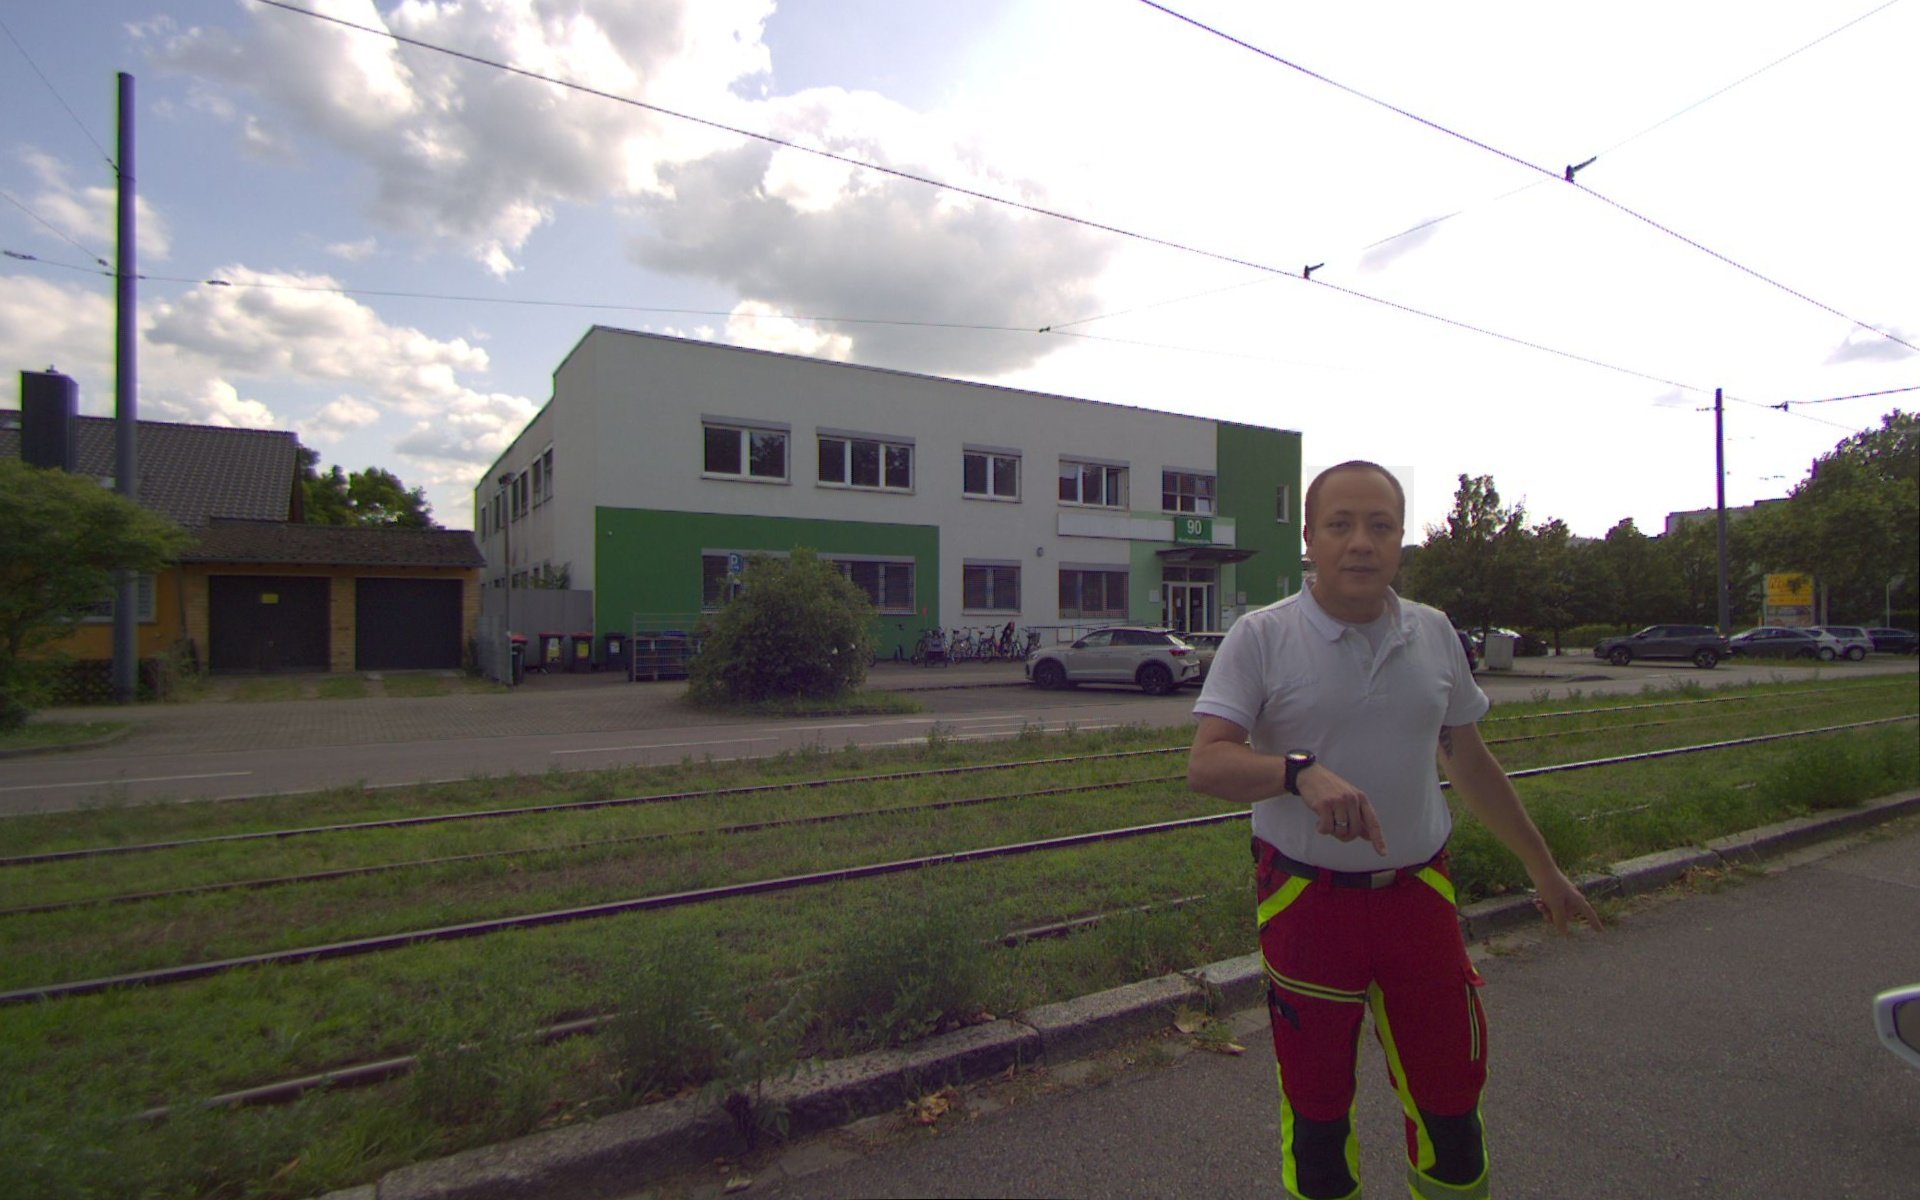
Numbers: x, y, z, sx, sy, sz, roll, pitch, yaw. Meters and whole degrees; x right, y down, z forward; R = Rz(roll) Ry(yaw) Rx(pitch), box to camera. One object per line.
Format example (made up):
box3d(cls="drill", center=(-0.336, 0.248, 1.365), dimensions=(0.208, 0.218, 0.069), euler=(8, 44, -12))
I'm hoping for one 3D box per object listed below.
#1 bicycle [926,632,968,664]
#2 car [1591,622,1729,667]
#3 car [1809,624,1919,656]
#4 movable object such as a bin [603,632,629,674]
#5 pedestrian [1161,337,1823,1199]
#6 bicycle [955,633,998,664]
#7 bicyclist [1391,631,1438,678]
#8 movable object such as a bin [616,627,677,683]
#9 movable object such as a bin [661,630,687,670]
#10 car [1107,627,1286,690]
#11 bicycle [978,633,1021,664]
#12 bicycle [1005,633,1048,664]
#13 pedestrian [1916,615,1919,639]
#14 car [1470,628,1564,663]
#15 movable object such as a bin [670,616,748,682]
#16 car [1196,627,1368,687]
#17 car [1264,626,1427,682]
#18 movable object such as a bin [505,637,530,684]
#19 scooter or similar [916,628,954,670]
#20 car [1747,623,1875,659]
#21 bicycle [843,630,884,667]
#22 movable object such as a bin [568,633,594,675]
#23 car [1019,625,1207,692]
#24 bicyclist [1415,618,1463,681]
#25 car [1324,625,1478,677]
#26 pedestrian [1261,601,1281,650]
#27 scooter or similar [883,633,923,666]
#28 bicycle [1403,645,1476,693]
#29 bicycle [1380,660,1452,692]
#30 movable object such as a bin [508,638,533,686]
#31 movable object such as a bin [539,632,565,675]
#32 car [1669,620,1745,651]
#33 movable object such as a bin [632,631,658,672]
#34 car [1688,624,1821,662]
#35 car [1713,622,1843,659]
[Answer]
box3d(cls="bicycle", center=(-0.424, 1.512, 31.715), dimensions=(0.453, 0.911, 1.848), euler=(2, 0, -30))
box3d(cls="car", center=(26.205, 1.624, 37.757), dimensions=(4.164, 1.501, 1.878), euler=(1, -1, 34))
box3d(cls="car", center=(46.188, 2.021, 51.096), dimensions=(4.151, 1.501, 1.883), euler=(1, -1, 19))
box3d(cls="movable object such as a bin", center=(-9.199, 1.409, 26.882), dimensions=(0.558, 1.056, 0.565), euler=(0, 1, -31))
box3d(cls="pedestrian", center=(0.833, 0.489, 1.848), dimensions=(0.790, 1.709, 0.851), euler=(1, 0, 4))
box3d(cls="bicycle", center=(0.523, 1.544, 32.336), dimensions=(0.453, 0.911, 1.848), euler=(2, 0, -30))
box3d(cls="bicyclist", center=(11.252, 1.331, 24.876), dimensions=(0.916, 1.127, 0.637), euler=(1, -1, -26))
box3d(cls="movable object such as a bin", center=(-7.544, 1.306, 24.138), dimensions=(1.241, 1.251, 1.001), euler=(0, 1, -29))
box3d(cls="movable object such as a bin", center=(-7.878, 1.373, 27.647), dimensions=(0.558, 1.056, 0.565), euler=(0, 1, -31))
box3d(cls="car", center=(6.085, 1.462, 25.962), dimensions=(4.160, 1.501, 1.880), euler=(-1, -2, 30))
box3d(cls="bicycle", center=(1.283, 1.569, 32.800), dimensions=(0.453, 0.911, 1.848), euler=(2, 0, -30))
box3d(cls="bicycle", center=(2.194, 1.591, 33.312), dimensions=(0.453, 0.911, 1.848), euler=(2, 0, -30))
box3d(cls="pedestrian", center=(67.517, 1.890, 70.519), dimensions=(0.597, 1.699, 0.463), euler=(1, -1, -33))
box3d(cls="car", center=(29.201, 2.368, 52.772), dimensions=(1.755, 1.586, 3.970), euler=(2, 0, -28))
box3d(cls="movable object such as a bin", center=(-6.230, 1.183, 24.899), dimensions=(1.691, 1.540, 1.001), euler=(0, 1, -29))
box3d(cls="car", center=(8.747, 1.504, 27.337), dimensions=(4.160, 1.501, 1.880), euler=(-1, -2, 30))
box3d(cls="car", center=(11.119, 1.517, 29.004), dimensions=(4.160, 1.501, 1.880), euler=(-1, -2, 30))
box3d(cls="movable object such as a bin", center=(-10.404, 1.414, 23.620), dimensions=(0.474, 1.056, 0.491), euler=(0, 1, -31))
box3d(cls="scooter or similar", center=(-0.739, 1.430, 29.650), dimensions=(1.073, 1.171, 1.306), euler=(2, 0, -2))
box3d(cls="car", center=(39.400, 1.862, 46.643), dimensions=(4.154, 1.501, 1.882), euler=(1, -1, 23))
box3d(cls="bicycle", center=(-2.904, 1.429, 30.047), dimensions=(0.453, 0.999, 1.848), euler=(2, 0, -30))
box3d(cls="movable object such as a bin", center=(-9.954, 1.402, 26.384), dimensions=(0.558, 1.056, 0.565), euler=(0, 1, -31))
box3d(cls="car", center=(3.697, 1.373, 24.275), dimensions=(4.155, 1.501, 1.882), euler=(-1, -2, 25))
box3d(cls="bicyclist", center=(11.572, 1.187, 24.274), dimensions=(0.916, 1.477, 0.621), euler=(0, -1, -26))
box3d(cls="car", center=(13.569, 1.534, 30.944), dimensions=(4.160, 1.501, 1.880), euler=(-1, -2, 30))
box3d(cls="pedestrian", center=(12.082, 0.989, 39.002), dimensions=(0.503, 1.852, 0.543), euler=(1, -1, -33))
box3d(cls="scooter or similar", center=(-1.769, 1.525, 31.025), dimensions=(0.453, 0.911, 1.726), euler=(2, 0, -30))
box3d(cls="bicycle", center=(11.594, 1.654, 24.277), dimensions=(1.781, 1.094, 0.643), euler=(1, -1, -26))
box3d(cls="bicycle", center=(11.316, 1.867, 24.906), dimensions=(1.781, 0.727, 0.643), euler=(1, -1, -26))
box3d(cls="movable object such as a bin", center=(-10.125, 1.420, 23.138), dimensions=(0.476, 1.056, 0.502), euler=(0, 1, -31))
box3d(cls="movable object such as a bin", center=(-10.562, 1.372, 25.983), dimensions=(0.558, 1.056, 0.565), euler=(0, 1, -31))
box3d(cls="car", center=(48.524, 2.277, 65.366), dimensions=(1.960, 1.773, 4.000), euler=(1, 0, 0))
box3d(cls="movable object such as a bin", center=(-8.540, 1.393, 27.255), dimensions=(0.558, 1.056, 0.565), euler=(0, 1, -31))
box3d(cls="car", center=(34.389, 1.818, 43.604), dimensions=(4.154, 1.501, 1.882), euler=(1, -1, 23))
box3d(cls="car", center=(36.746, 1.800, 45.277), dimensions=(4.154, 1.501, 1.882), euler=(1, -1, 23))
